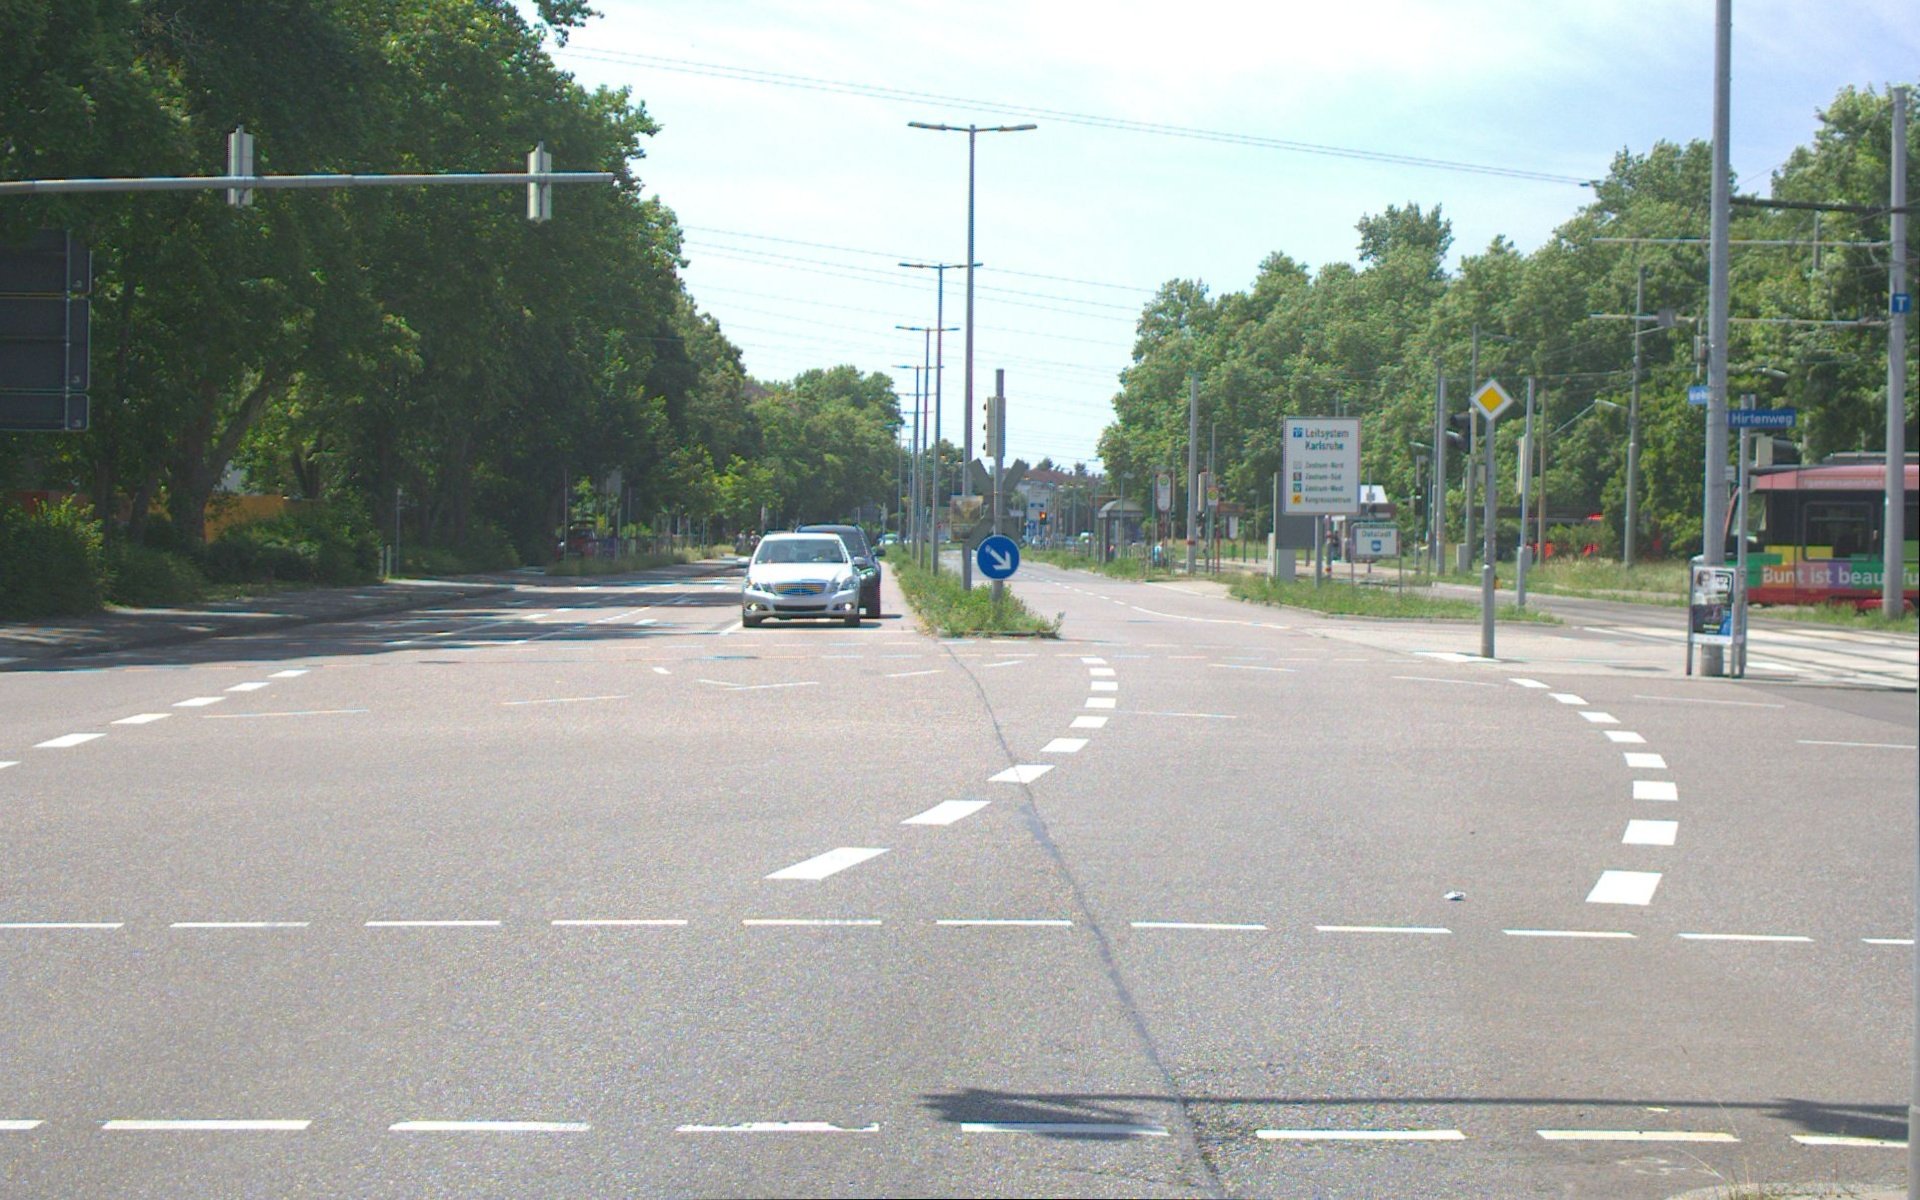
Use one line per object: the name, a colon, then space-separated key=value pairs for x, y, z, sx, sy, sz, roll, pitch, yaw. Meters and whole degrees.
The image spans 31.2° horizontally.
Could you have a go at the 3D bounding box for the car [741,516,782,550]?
car: x=-8.919 y=-3.002 z=154.733 sx=1.671 sy=1.485 sz=3.711 roll=1 pitch=1 yaw=-1

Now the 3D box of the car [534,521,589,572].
car: x=-16.763 y=-2.242 z=144.846 sx=1.993 sy=2.007 sz=4.001 roll=4 pitch=0 yaw=-4

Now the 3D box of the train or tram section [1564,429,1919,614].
train or tram section: x=19.697 y=-1.661 z=74.496 sx=13.060 sy=3.799 sz=2.917 roll=1 pitch=-2 yaw=38

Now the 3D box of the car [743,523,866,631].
car: x=-2.429 y=-0.389 z=54.371 sx=1.784 sy=1.623 sz=3.865 roll=1 pitch=1 yaw=-1
